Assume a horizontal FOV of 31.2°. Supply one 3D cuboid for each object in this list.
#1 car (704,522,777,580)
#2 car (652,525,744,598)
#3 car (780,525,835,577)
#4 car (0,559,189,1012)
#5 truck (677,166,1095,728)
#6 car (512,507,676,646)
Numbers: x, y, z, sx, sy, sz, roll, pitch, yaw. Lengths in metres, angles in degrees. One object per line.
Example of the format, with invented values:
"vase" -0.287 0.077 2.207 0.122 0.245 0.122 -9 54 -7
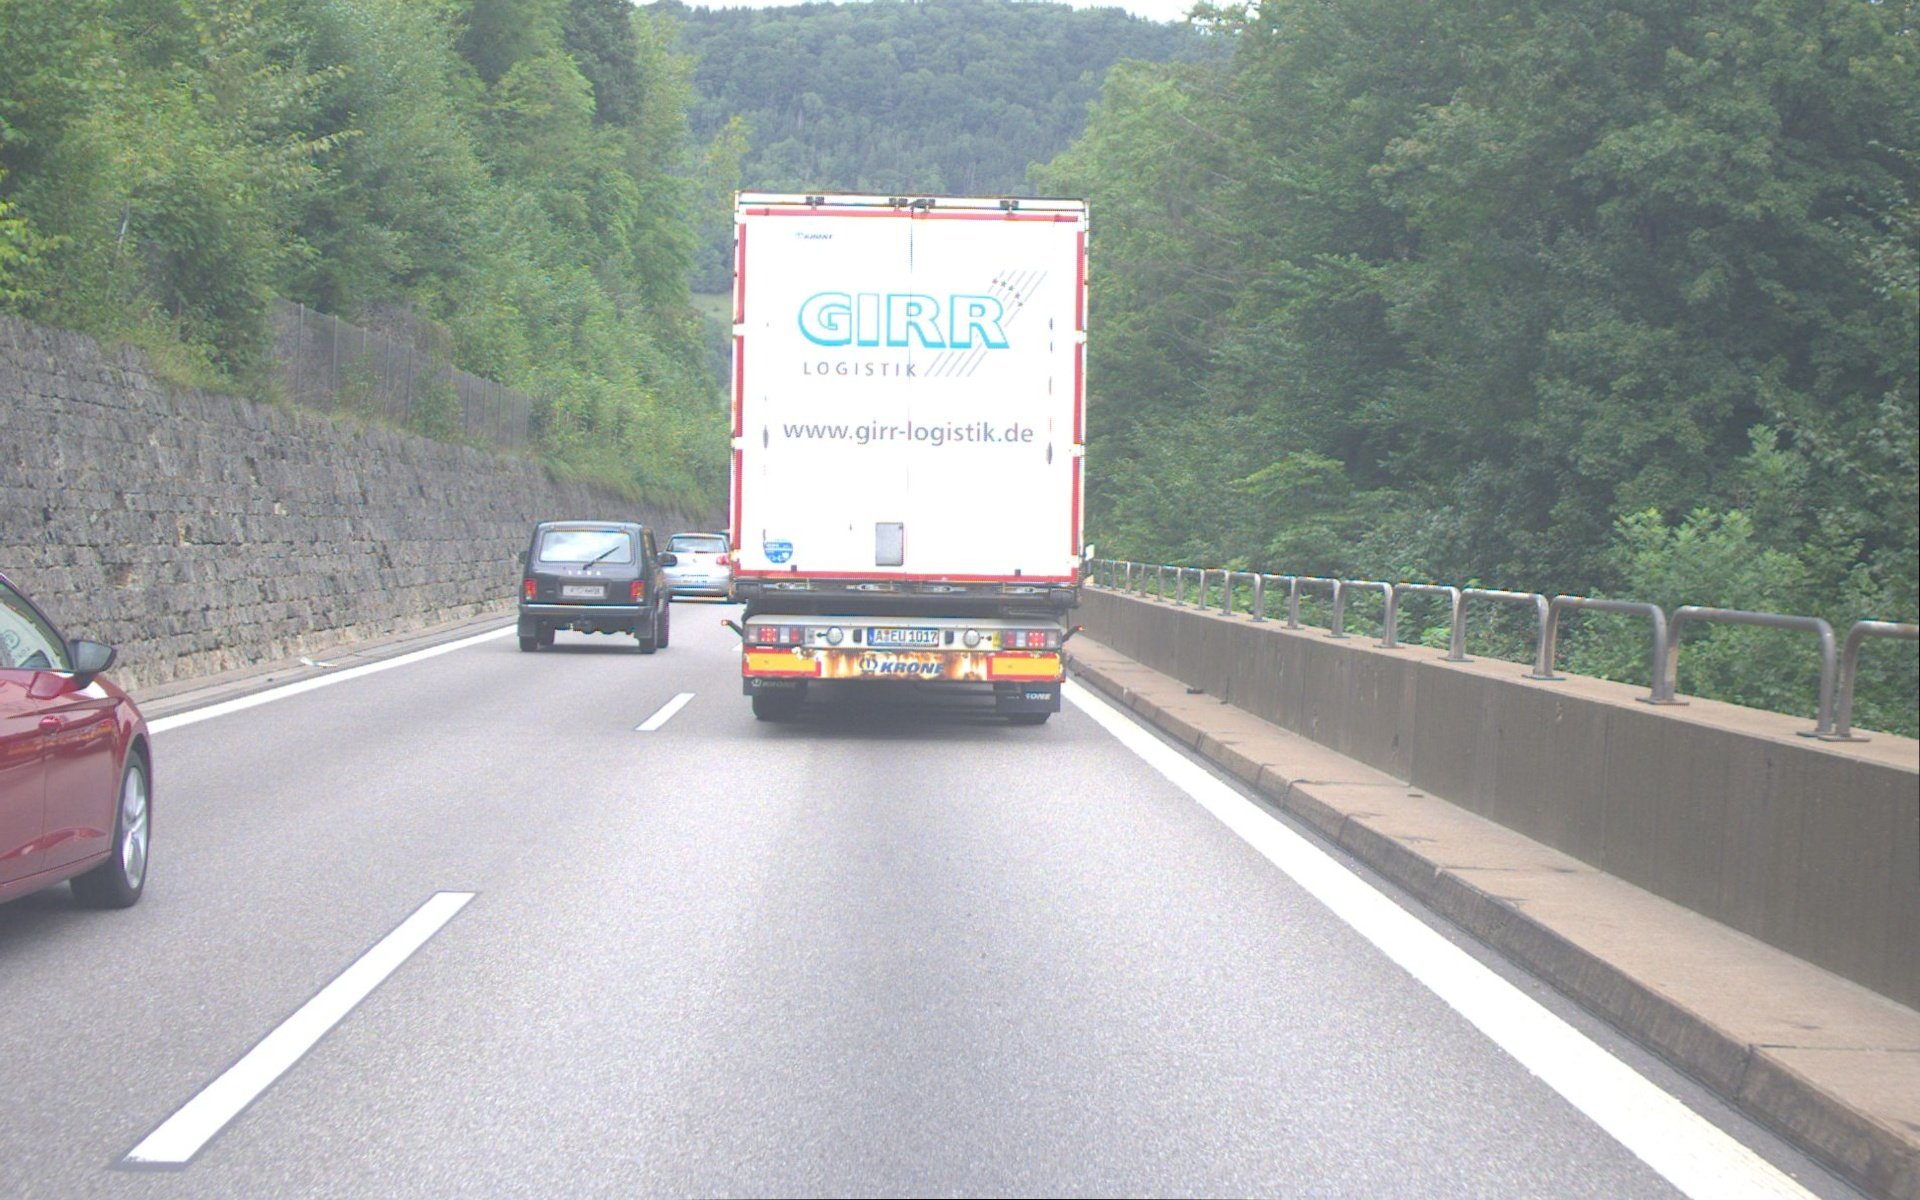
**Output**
"car" -6.296 -1.402 98.908 1.917 1.589 4.179 1 1 -1
"car" -5.552 -0.815 73.167 1.729 1.481 4.000 1 1 -1
"car" -6.184 -1.982 139.671 1.993 2.007 4.000 1 0 0
"car" -4.012 0.581 12.031 1.766 1.455 4.412 1 1 -2
"truck" -0.570 -1.155 29.031 2.908 3.947 9.279 1 1 -1
"car" -4.530 -0.306 43.007 1.669 1.633 4.068 1 1 -1
